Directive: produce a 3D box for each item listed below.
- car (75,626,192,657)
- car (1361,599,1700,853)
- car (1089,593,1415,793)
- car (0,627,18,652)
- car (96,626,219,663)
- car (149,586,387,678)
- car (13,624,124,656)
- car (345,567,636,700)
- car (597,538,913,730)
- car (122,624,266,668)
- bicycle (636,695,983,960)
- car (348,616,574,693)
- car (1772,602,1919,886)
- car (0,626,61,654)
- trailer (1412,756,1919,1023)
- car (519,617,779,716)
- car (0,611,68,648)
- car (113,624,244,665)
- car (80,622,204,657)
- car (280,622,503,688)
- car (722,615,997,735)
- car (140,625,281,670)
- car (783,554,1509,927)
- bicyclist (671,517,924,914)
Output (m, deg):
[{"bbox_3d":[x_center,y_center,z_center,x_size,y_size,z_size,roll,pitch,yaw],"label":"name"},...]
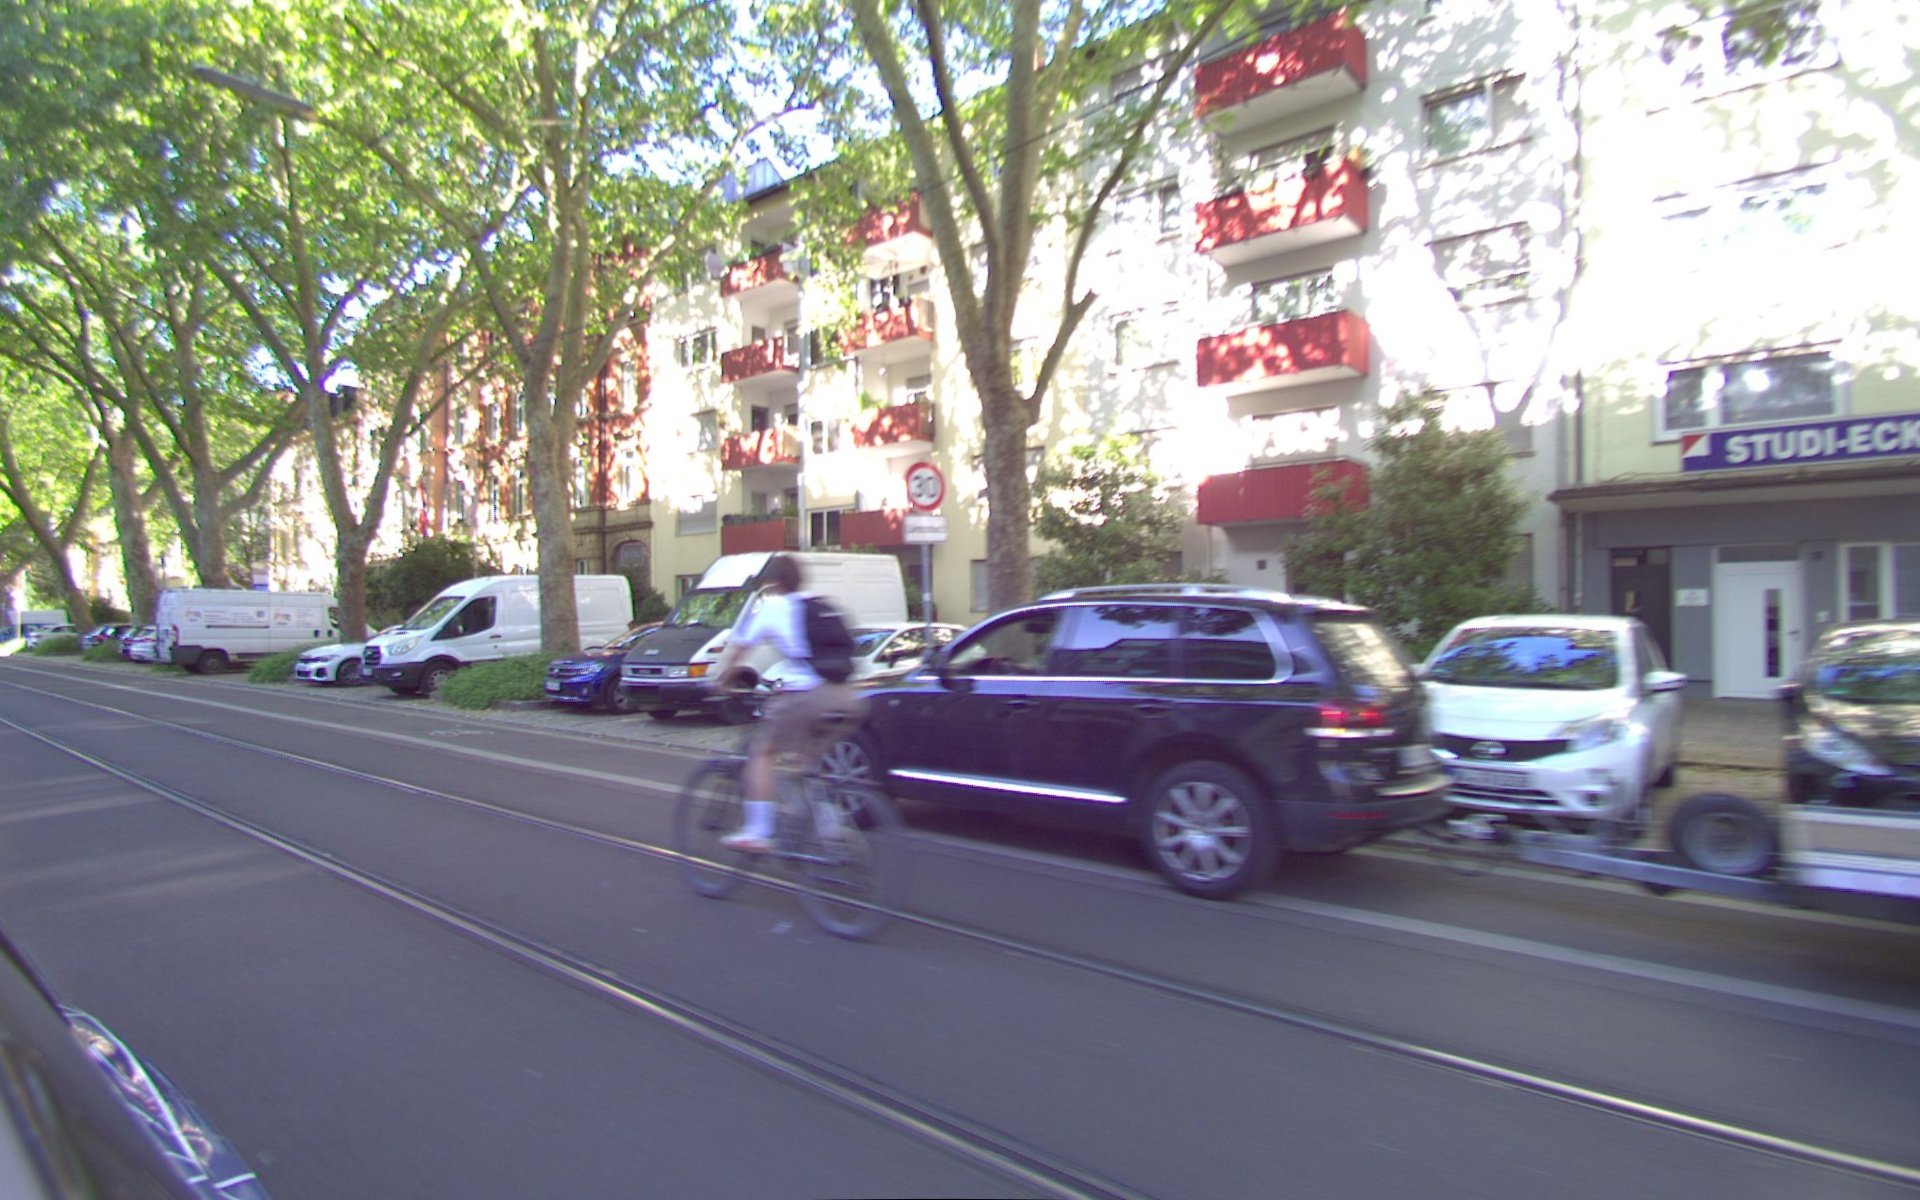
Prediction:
[{"bbox_3d":[-38.600,1.913,47.337,1.601,1.379,3.953,-1,-1,35],"label":"car"},{"bbox_3d":[4.806,0.791,8.235,1.769,1.533,3.948,-1,-1,39],"label":"car"},{"bbox_3d":[3.204,0.805,10.577,1.892,1.660,3.948,-1,-1,39],"label":"car"},{"bbox_3d":[-78.615,3.240,81.008,1.923,1.922,4.575,-2,0,45],"label":"car"},{"bbox_3d":[-34.781,1.889,43.927,1.704,1.471,3.944,-2,-1,42],"label":"car"},{"bbox_3d":[-21.110,0.911,31.097,2.161,2.555,5.682,-2,-1,40],"label":"car"},{"bbox_3d":[-44.680,1.977,50.763,1.877,1.471,3.947,-1,-1,39],"label":"car"},{"bbox_3d":[-9.864,0.662,21.687,2.055,2.496,5.305,-1,-1,40],"label":"car"},{"bbox_3d":[-3.084,0.494,16.269,2.078,2.587,4.899,-1,-1,36],"label":"car"},{"bbox_3d":[-28.178,1.643,37.315,1.829,1.507,3.946,-1,-1,41],"label":"car"},{"bbox_3d":[-0.808,1.006,4.954,1.926,0.969,0.515,-1,-2,39],"label":"bicycle"},{"bbox_3d":[-11.434,1.183,23.405,1.871,1.550,4.326,-1,-1,40],"label":"car"},{"bbox_3d":[6.541,0.790,6.612,1.784,1.542,3.398,-1,-1,37],"label":"car"},{"bbox_3d":[-61.008,2.571,65.256,1.813,1.725,4.279,-1,-1,37],"label":"car"},{"bbox_3d":[5.187,1.177,3.391,6.394,0.637,2.139,-1,-4,40],"label":"trailer"},{"bbox_3d":[-5.312,1.069,17.657,1.871,1.477,3.977,-1,-1,41],"label":"car"},{"bbox_3d":[-67.728,2.135,71.699,1.999,2.426,6.535,-2,0,40],"label":"car"},{"bbox_3d":[-30.147,1.667,39.112,1.703,1.471,3.754,-1,-1,41],"label":"car"},{"bbox_3d":[-36.549,1.744,45.300,1.764,1.471,3.958,-1,-1,31],"label":"car"},{"bbox_3d":[-13.734,1.276,24.671,1.932,1.395,4.365,-1,-1,40],"label":"car"},{"bbox_3d":[-1.341,0.974,14.714,1.858,1.489,3.816,-1,-1,39],"label":"car"},{"bbox_3d":[-26.302,1.623,35.595,1.704,1.443,3.768,-2,-1,42],"label":"car"},{"bbox_3d":[1.022,0.732,6.895,4.481,1.713,1.973,-1,-4,40],"label":"car"},{"bbox_3d":[-0.791,0.502,4.923,0.956,1.690,0.777,-2,-2,38],"label":"bicyclist"}]
